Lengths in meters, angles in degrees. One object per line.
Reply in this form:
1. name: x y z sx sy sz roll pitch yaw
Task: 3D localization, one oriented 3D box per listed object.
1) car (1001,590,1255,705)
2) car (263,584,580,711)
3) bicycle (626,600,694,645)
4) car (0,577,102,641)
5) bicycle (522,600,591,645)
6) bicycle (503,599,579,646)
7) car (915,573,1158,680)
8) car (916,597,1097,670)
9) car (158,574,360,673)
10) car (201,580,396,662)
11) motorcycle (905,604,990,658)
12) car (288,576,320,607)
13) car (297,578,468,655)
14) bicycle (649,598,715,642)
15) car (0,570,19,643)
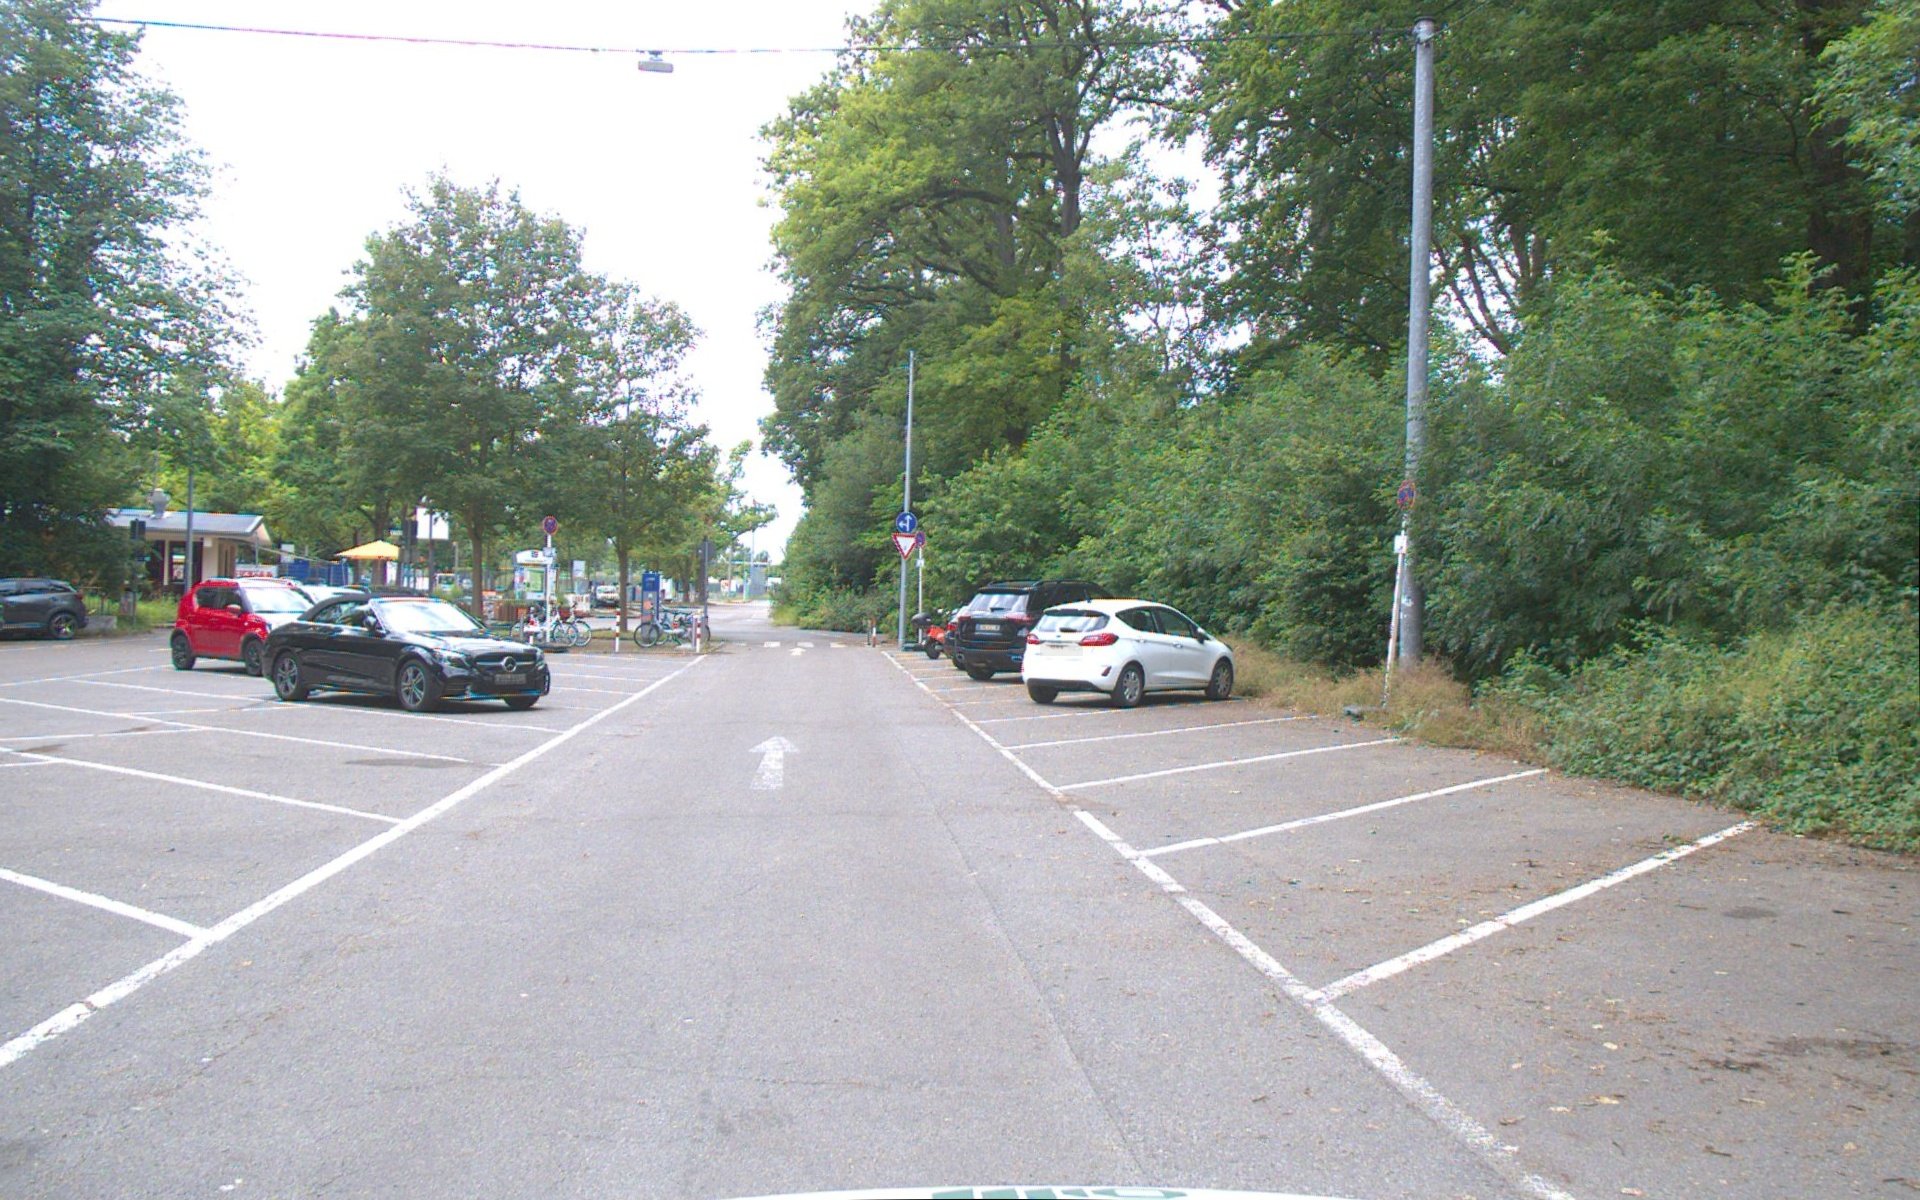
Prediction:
1. car: 2.553 0.659 24.440 1.835 1.537 3.979 1 0 40
2. car: -7.109 0.559 21.694 4.231 1.467 1.862 1 0 37
3. bicycle: -7.803 0.589 43.007 1.645 1.131 0.506 1 0 0
4. car: -23.003 0.202 39.895 1.667 1.518 3.774 1 0 38
5. bicycle: -10.360 0.584 42.529 1.646 1.131 0.482 1 0 -3
6. bicycle: -10.435 0.563 41.211 1.747 1.131 0.482 1 0 -3
7. car: 1.491 0.459 30.349 2.073 1.798 4.684 1 0 40
8. car: 1.024 0.660 34.612 1.708 1.400 3.979 1 1 40
9. car: -12.339 0.380 29.053 3.582 1.613 1.680 1 0 37
10. car: -13.198 0.383 32.943 3.922 1.509 1.869 1 1 37
11. motorcycle: -0.287 0.725 39.092 2.011 1.229 0.720 0 0 -41
12. car: -44.749 -0.606 112.802 1.966 2.049 3.973 1 0 -22
13. car: -12.604 0.325 36.014 4.028 1.549 1.819 1 1 42
14. bicycle: -7.387 0.538 43.982 1.656 1.131 0.483 1 0 2
15. car: -22.877 0.132 35.591 1.920 1.608 4.185 1 0 37
